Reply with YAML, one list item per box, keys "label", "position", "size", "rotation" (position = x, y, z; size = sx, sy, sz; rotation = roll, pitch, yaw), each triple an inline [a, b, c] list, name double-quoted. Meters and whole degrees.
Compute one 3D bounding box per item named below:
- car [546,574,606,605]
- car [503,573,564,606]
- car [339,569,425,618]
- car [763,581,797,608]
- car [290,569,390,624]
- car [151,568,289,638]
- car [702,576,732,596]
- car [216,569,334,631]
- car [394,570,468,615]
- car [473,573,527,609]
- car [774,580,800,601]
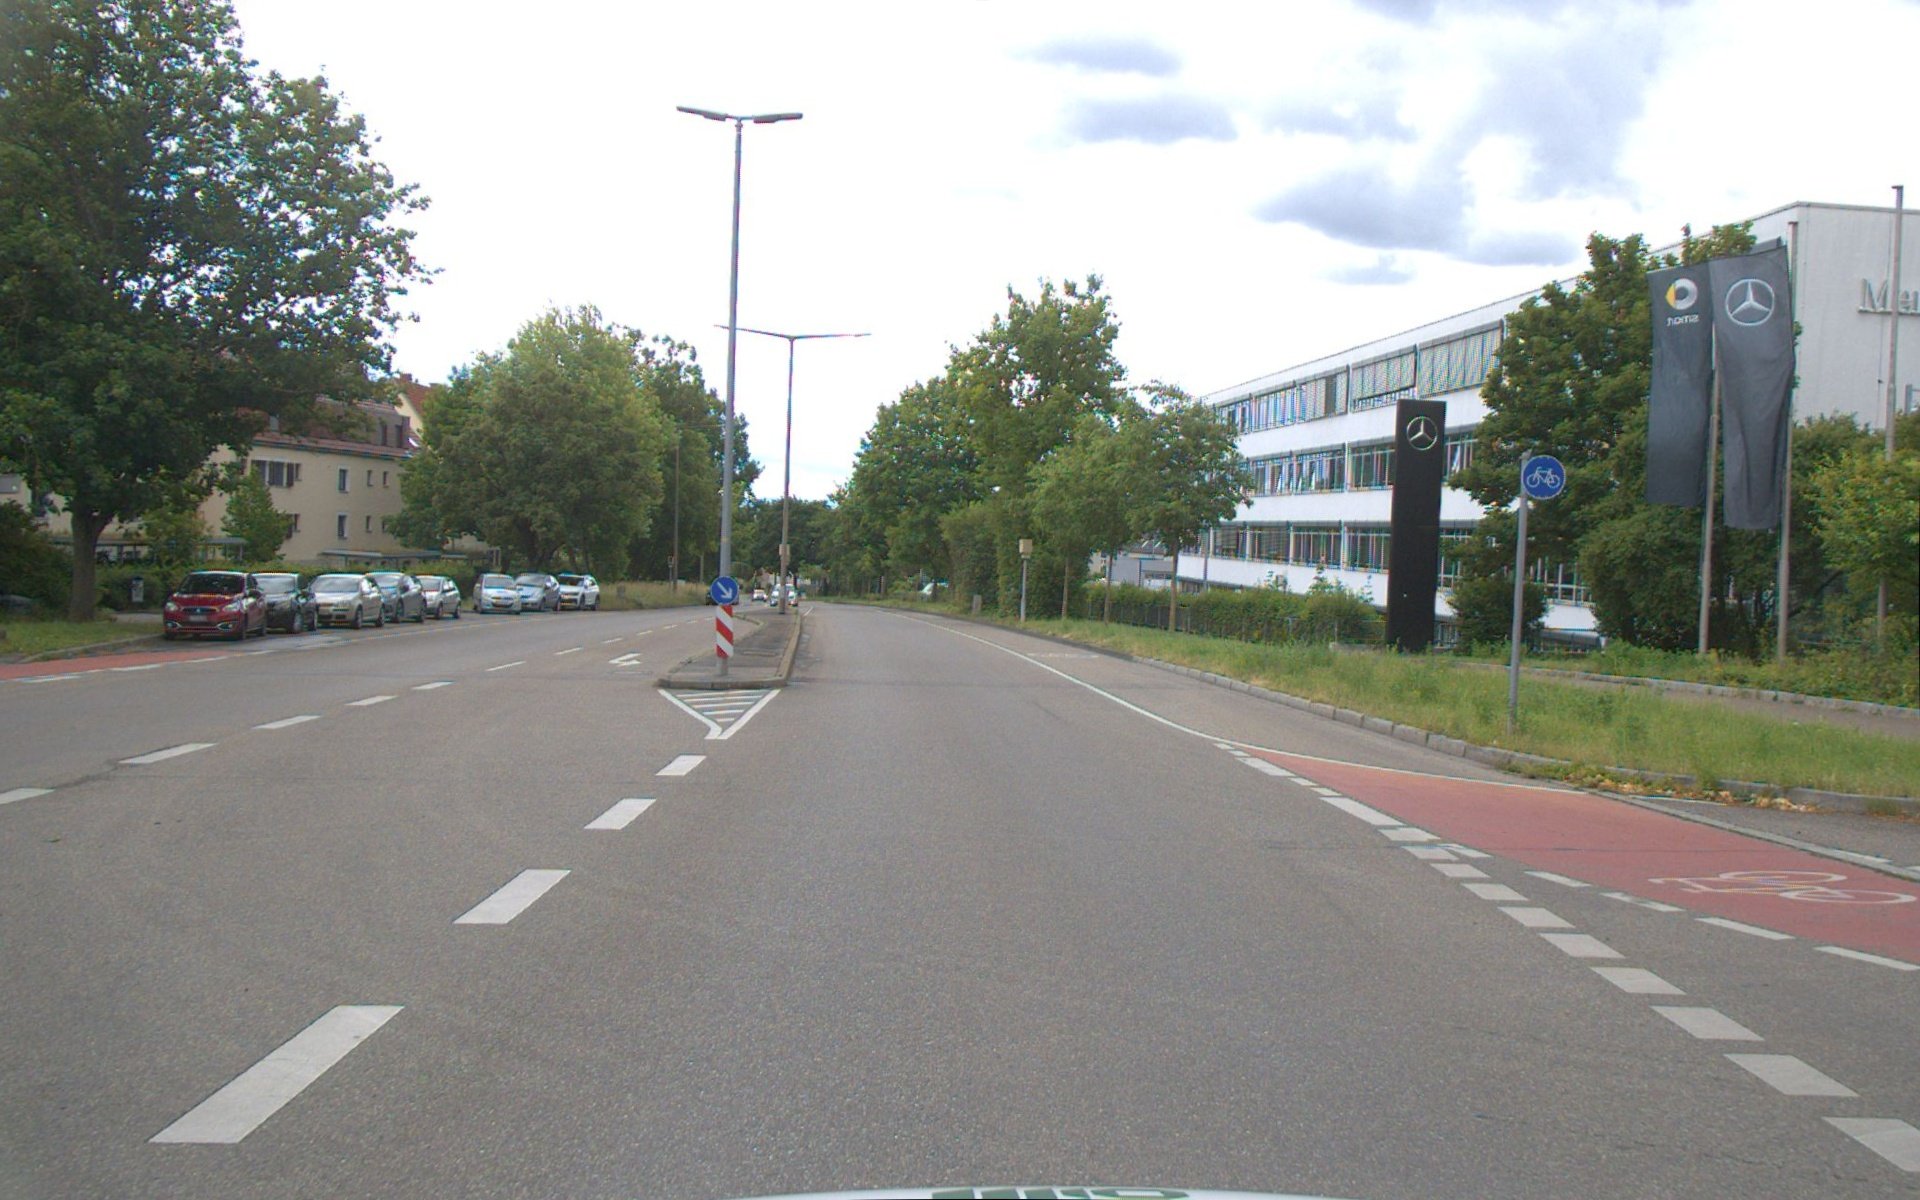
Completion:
- label: "car"
  position: [-17.883, -0.493, 77.115]
  size: [1.638, 1.327, 4.002]
  rotation: [2, 1, 3]
- label: "car"
  position: [-18.433, -0.466, 71.623]
  size: [1.639, 1.327, 3.999]
  rotation: [2, 1, -1]
- label: "car"
  position: [-18.180, -0.212, 52.177]
  size: [1.640, 1.427, 3.995]
  rotation: [2, 1, -6]
- label: "car"
  position: [-9.568, -0.293, 88.109]
  size: [1.580, 1.327, 3.997]
  rotation: [2, 1, -4]
- label: "car"
  position: [-17.366, -0.117, 46.488]
  size: [1.640, 1.427, 3.995]
  rotation: [2, 1, -6]
- label: "car"
  position: [-16.518, 0.042, 37.116]
  size: [1.640, 1.427, 3.995]
  rotation: [2, 1, -6]
- label: "car"
  position: [-17.038, -1.017, 116.212]
  size: [1.736, 1.327, 3.997]
  rotation: [2, 1, -4]
- label: "car"
  position: [-17.124, -0.016, 41.545]
  size: [1.640, 1.427, 3.995]
  rotation: [2, 1, -6]
- label: "car"
  position: [-18.338, -0.280, 57.458]
  size: [1.640, 1.427, 3.995]
  rotation: [2, 1, -6]
- label: "car"
  position: [-18.568, -0.397, 66.684]
  size: [1.649, 1.327, 3.974]
  rotation: [2, 1, -22]
- label: "car"
  position: [-12.038, -0.671, 115.307]
  size: [1.580, 1.327, 3.997]
  rotation: [2, 1, -4]
